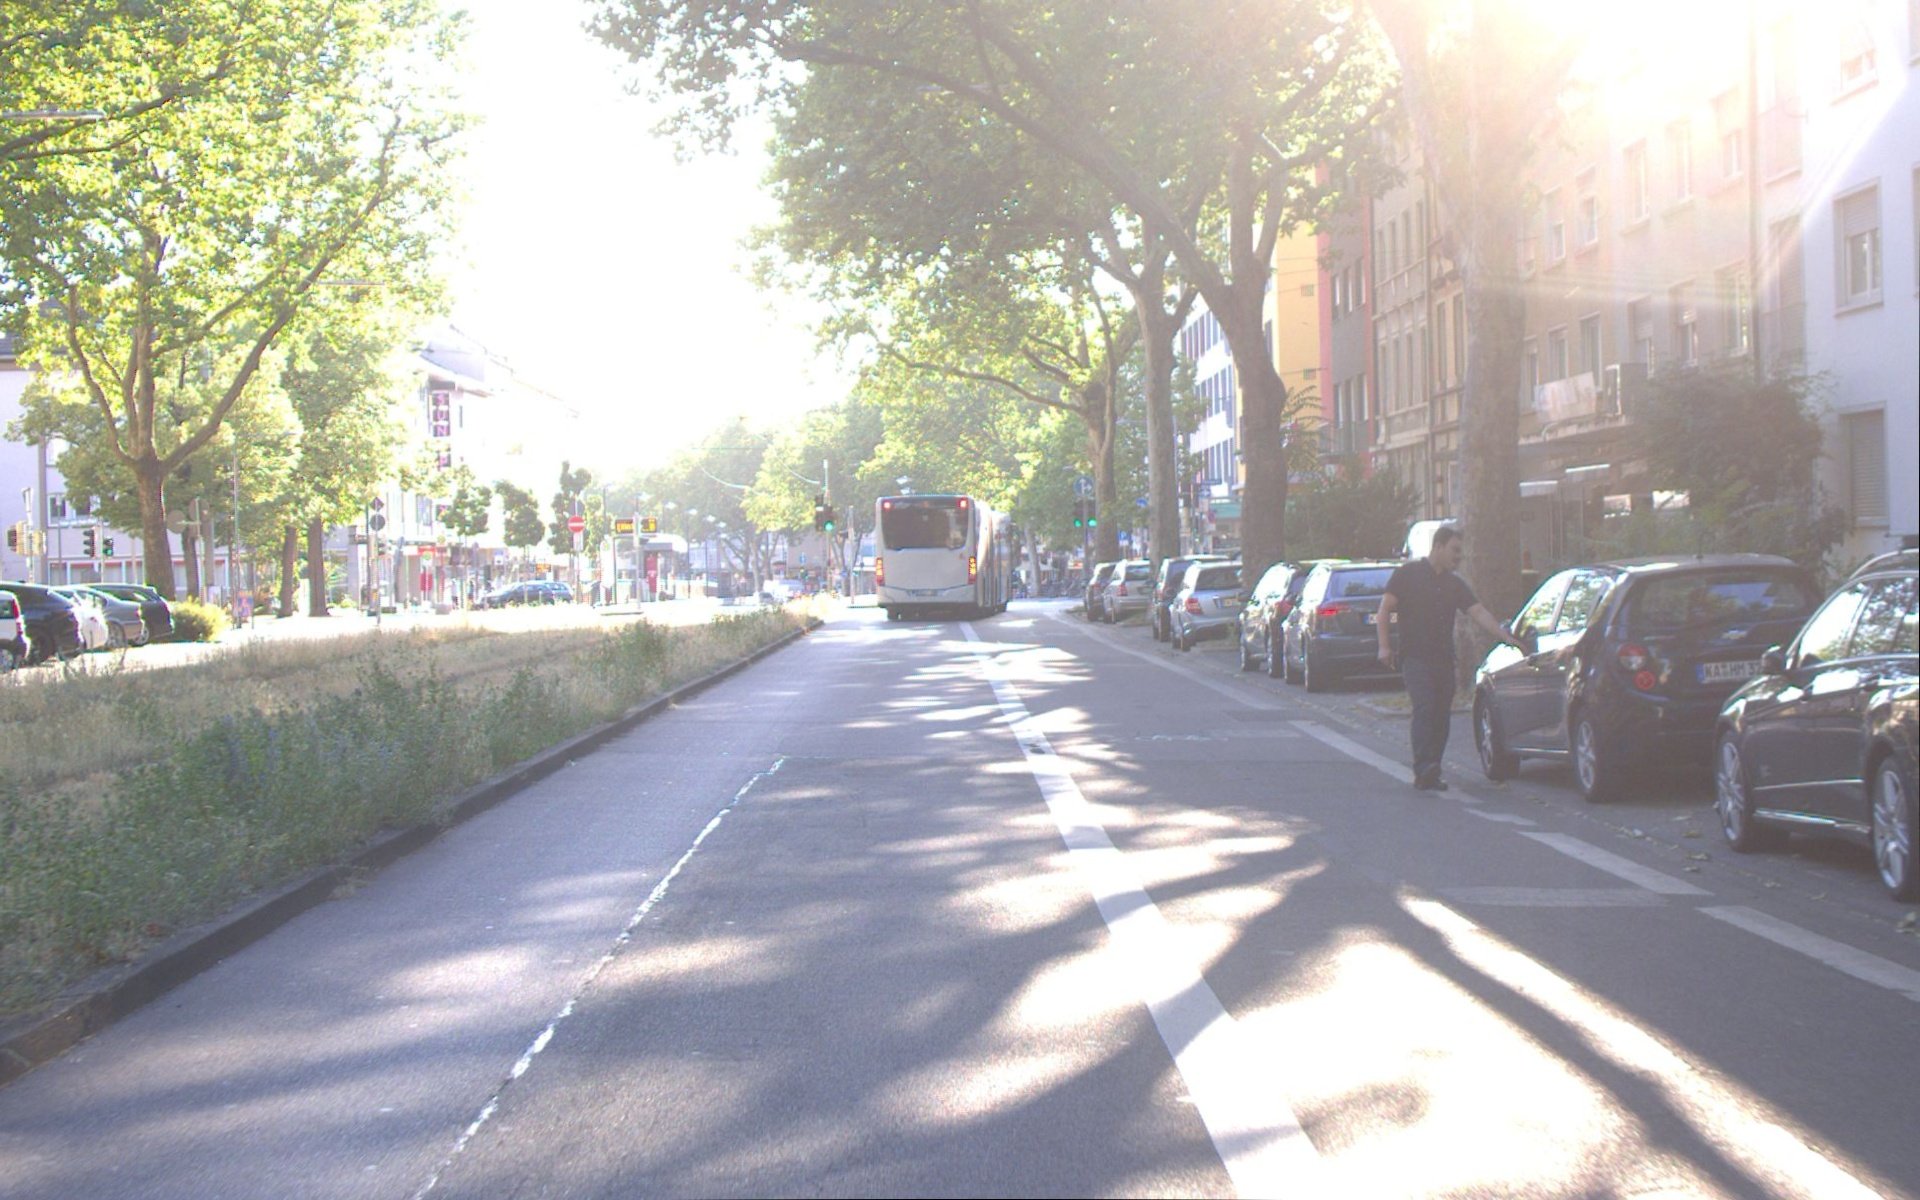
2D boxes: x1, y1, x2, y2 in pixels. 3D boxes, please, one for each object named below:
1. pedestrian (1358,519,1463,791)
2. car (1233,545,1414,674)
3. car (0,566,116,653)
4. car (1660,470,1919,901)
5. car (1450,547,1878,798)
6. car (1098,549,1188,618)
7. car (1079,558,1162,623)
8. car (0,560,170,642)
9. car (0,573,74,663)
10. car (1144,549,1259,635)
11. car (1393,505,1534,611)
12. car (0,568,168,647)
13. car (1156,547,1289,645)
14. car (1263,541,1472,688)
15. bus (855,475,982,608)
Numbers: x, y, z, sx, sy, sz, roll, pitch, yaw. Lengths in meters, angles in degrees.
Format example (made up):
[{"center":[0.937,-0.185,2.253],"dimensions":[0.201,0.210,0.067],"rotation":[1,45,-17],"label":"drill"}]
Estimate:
[{"center":[2.990,0.357,22.857],"dimensions":[0.576,1.773,0.514],"rotation":[-2,1,-1],"label":"pedestrian"},{"center":[4.555,0.082,43.535],"dimensions":[1.781,1.510,4.000],"rotation":[-2,1,-1],"label":"car"},{"center":[-19.773,0.215,70.648],"dimensions":[4.300,1.732,1.857],"rotation":[-1,0,-41],"label":"car"},{"center":[4.725,0.330,15.948],"dimensions":[1.744,1.764,4.989],"rotation":[-1,0,-2],"label":"car"},{"center":[4.553,0.436,22.825],"dimensions":[1.685,1.481,4.001],"rotation":[-1,0,-5],"label":"car"},{"center":[4.184,-0.400,79.067],"dimensions":[1.781,1.510,4.000],"rotation":[-2,1,-1],"label":"car"},{"center":[3.971,-0.257,85.542],"dimensions":[1.781,1.510,4.000],"rotation":[-2,1,-1],"label":"car"},{"center":[-20.077,0.019,76.894],"dimensions":[4.300,1.732,1.857],"rotation":[-1,0,-41],"label":"car"},{"center":[-19.639,0.380,66.809],"dimensions":[4.300,1.732,1.857],"rotation":[-1,0,-41],"label":"car"},{"center":[4.490,-0.181,64.470],"dimensions":[1.781,1.510,4.000],"rotation":[-2,1,-1],"label":"car"},{"center":[9.302,-0.750,63.809],"dimensions":[1.883,1.853,4.326],"rotation":[-1,0,-1],"label":"car"},{"center":[-20.747,0.160,79.623],"dimensions":[4.300,1.732,1.857],"rotation":[-1,0,-41],"label":"car"},{"center":[4.278,-0.093,56.513],"dimensions":[1.781,1.510,4.000],"rotation":[-2,1,-1],"label":"car"},{"center":[4.517,0.126,38.598],"dimensions":[1.781,1.510,4.000],"rotation":[-2,1,-1],"label":"car"},{"center":[-1.150,-1.444,88.907],"dimensions":[2.833,3.224,8.183],"rotation":[-1,0,-3],"label":"bus"}]
